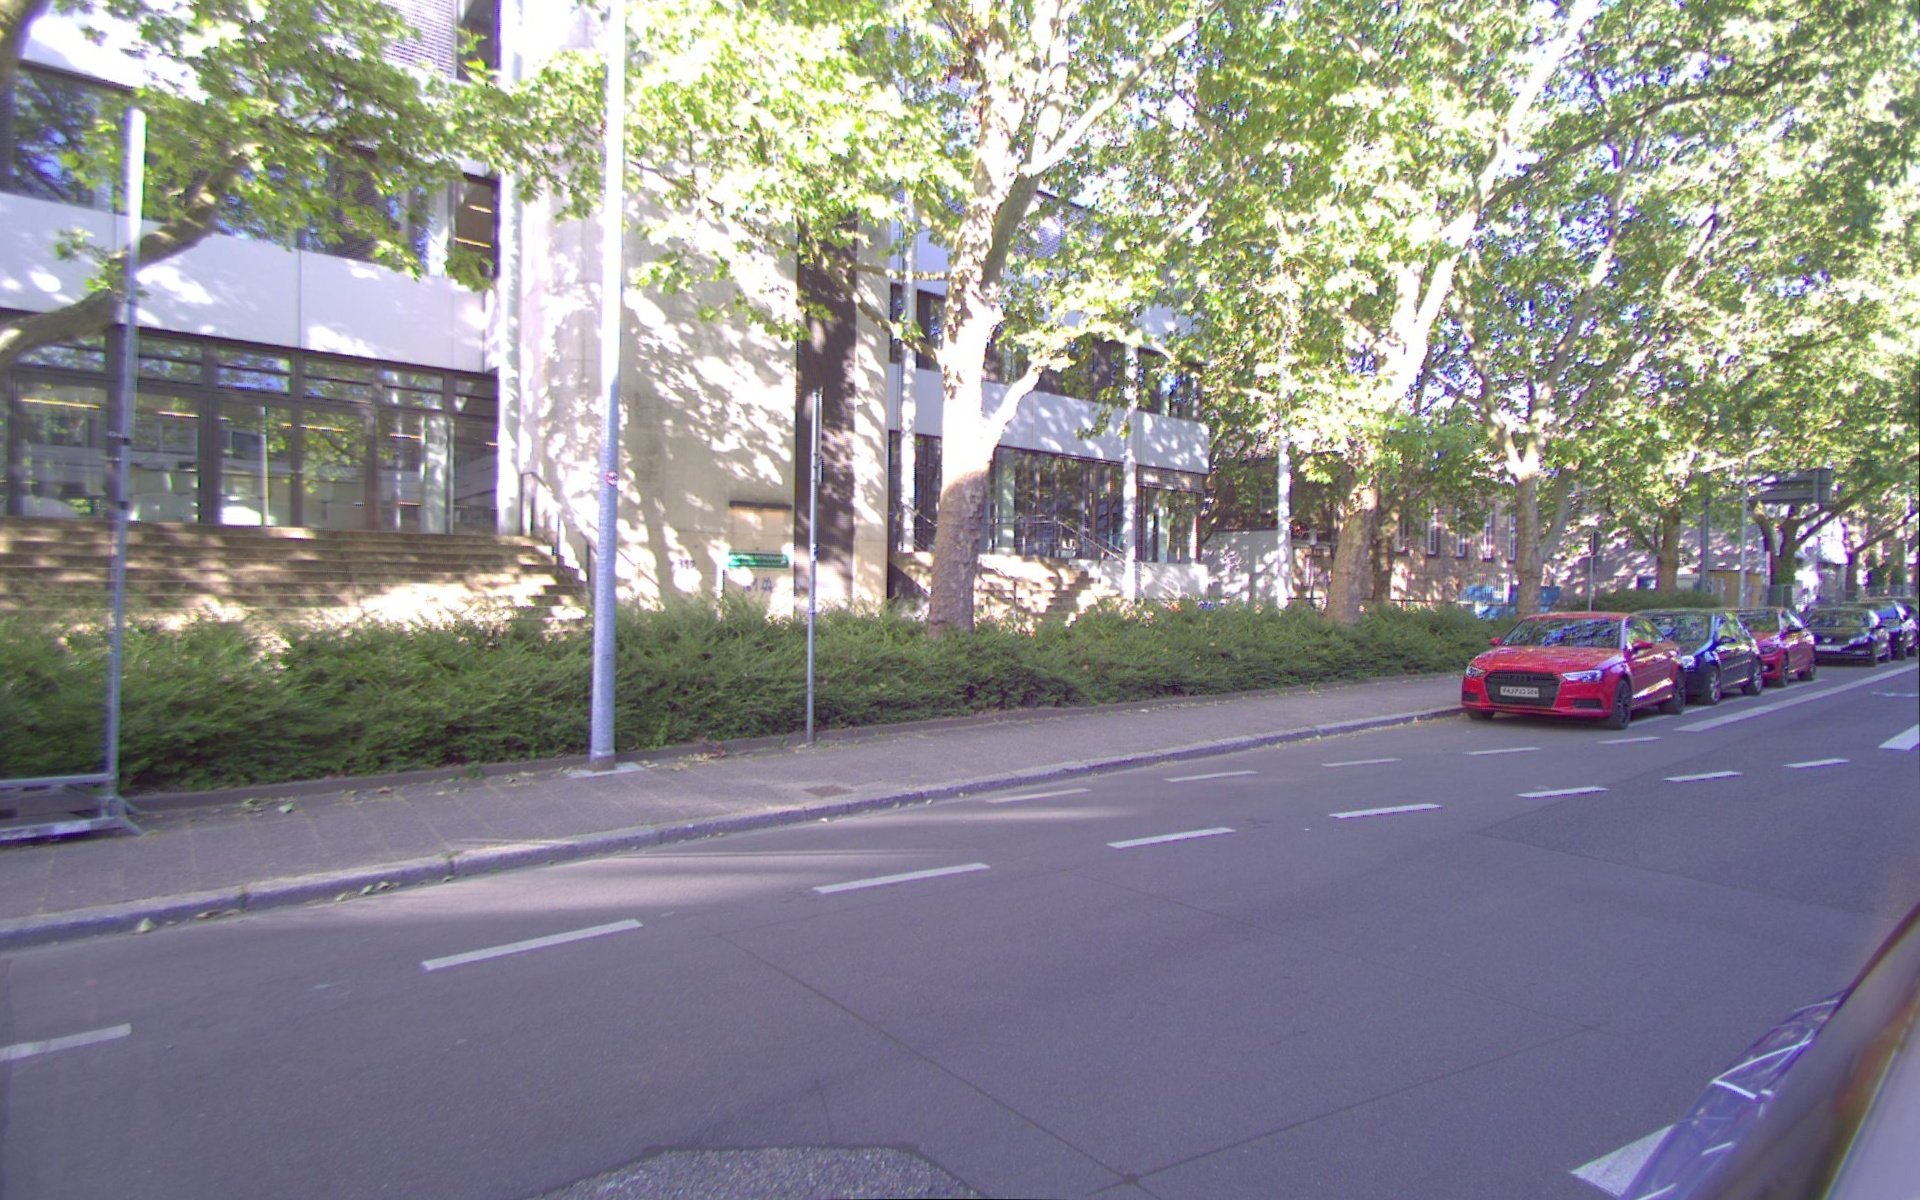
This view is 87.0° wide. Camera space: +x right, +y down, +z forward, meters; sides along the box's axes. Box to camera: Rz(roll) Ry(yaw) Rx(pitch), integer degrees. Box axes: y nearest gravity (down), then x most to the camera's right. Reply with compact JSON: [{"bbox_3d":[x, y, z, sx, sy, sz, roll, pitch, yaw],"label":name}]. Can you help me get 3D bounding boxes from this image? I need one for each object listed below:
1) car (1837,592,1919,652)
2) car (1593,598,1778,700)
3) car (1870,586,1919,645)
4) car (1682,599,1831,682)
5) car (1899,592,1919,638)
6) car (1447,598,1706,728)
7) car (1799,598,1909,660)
[{"bbox_3d":[26.579,0.585,29.016,3.777,1.607,1.634,0,-1,-41],"label":"car"},{"bbox_3d":[11.932,0.718,16.572,3.674,1.483,1.634,0,-1,-41],"label":"car"},{"bbox_3d":[31.128,0.476,33.027,3.777,1.828,1.634,0,-1,-41],"label":"car"},{"bbox_3d":[15.752,0.724,19.958,3.674,1.483,1.634,0,-1,-41],"label":"car"},{"bbox_3d":[35.935,0.531,37.236,3.777,1.675,1.634,0,-1,-41],"label":"car"},{"bbox_3d":[8.327,0.722,13.540,4.053,1.483,1.802,0,-1,-41],"label":"car"},{"bbox_3d":[23.029,0.697,26.021,3.674,1.483,1.634,0,-1,-41],"label":"car"}]
